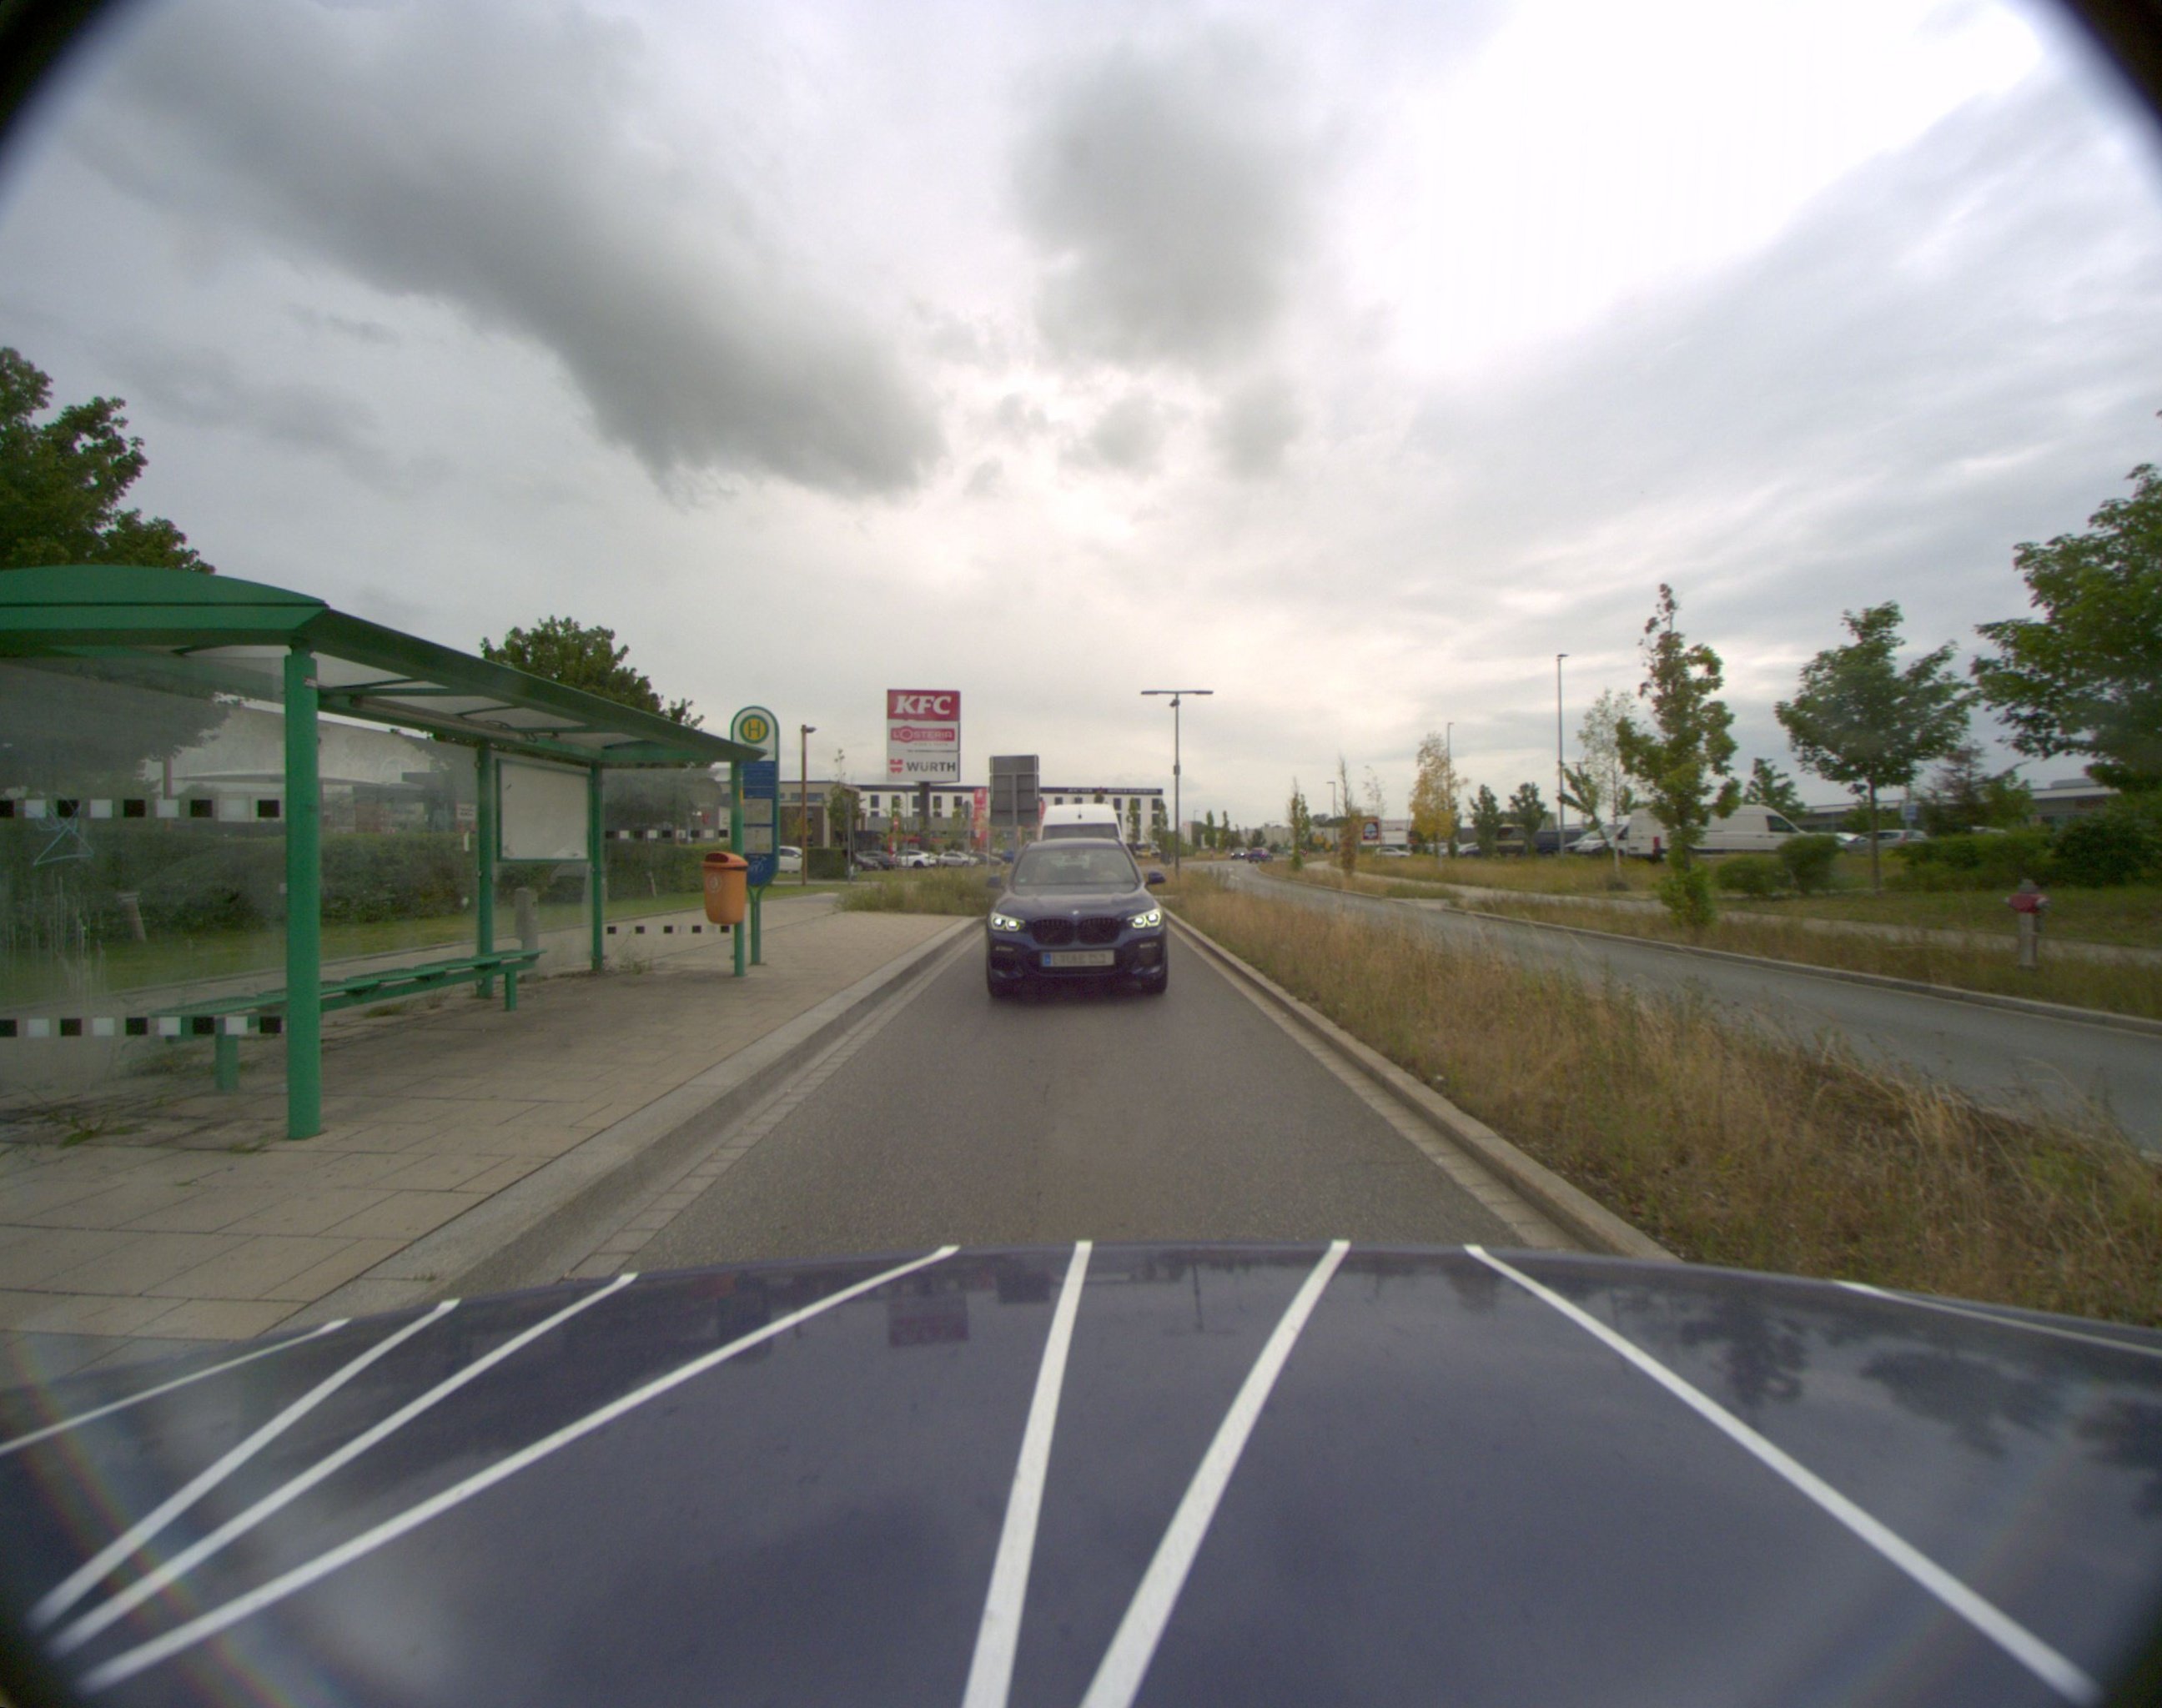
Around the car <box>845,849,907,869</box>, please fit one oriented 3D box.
[{"bbox_3d":[-15.045,0.347,55.844,3.994,1.477,1.848,0,1,9],"label":"car"}]

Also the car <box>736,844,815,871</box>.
[{"bbox_3d":[-18.264,0.202,45.562,3.997,1.519,1.847,0,1,1],"label":"car"}]

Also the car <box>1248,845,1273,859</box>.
[{"bbox_3d":[19.069,-0.236,80.424,1.730,1.504,4.007,0,0,26],"label":"car"}]

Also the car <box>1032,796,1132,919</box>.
[{"bbox_3d":[0.010,0.062,18.655,2.026,2.513,6.104,0,0,0],"label":"car"}]

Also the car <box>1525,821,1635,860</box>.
[{"bbox_3d":[29.521,-0.783,45.104,5.050,2.211,2.066,0,1,8],"label":"car"}]

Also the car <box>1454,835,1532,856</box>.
[{"bbox_3d":[32.553,-0.651,60.201,5.049,1.647,2.066,0,1,10],"label":"car"}]

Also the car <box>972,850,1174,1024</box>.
[{"bbox_3d":[-0.077,0.762,9.050,1.867,1.598,3.999,0,0,0],"label":"car"}]

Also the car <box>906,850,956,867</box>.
[{"bbox_3d":[-13.321,0.379,67.629,3.994,1.477,1.848,0,1,8],"label":"car"}]

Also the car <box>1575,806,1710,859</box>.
[{"bbox_3d":[27.487,-1.048,37.306,5.053,2.359,2.064,-2,1,1],"label":"car"}]

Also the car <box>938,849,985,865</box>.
[{"bbox_3d":[-11.366,0.252,72.277,3.993,1.477,1.849,0,1,13],"label":"car"}]

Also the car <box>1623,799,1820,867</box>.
[{"bbox_3d":[27.245,-0.874,32.510,6.413,2.609,2.065,-2,1,4],"label":"car"}]

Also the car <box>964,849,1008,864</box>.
[{"bbox_3d":[-9.621,0.286,76.740,3.993,1.477,1.849,0,1,13],"label":"car"}]

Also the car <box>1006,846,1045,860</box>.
[{"bbox_3d":[-6.275,-0.093,85.981,3.992,1.477,1.849,-2,1,17],"label":"car"}]

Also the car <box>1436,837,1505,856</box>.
[{"bbox_3d":[34.526,-0.662,67.433,5.049,1.647,2.066,0,1,10],"label":"car"}]

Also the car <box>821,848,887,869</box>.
[{"bbox_3d":[-15.797,0.309,52.988,3.994,1.477,1.848,0,1,9],"label":"car"}]

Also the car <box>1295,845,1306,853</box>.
[{"bbox_3d":[40.410,-0.932,139.659,1.731,1.484,4.004,0,0,13],"label":"car"}]

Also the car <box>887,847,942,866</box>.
[{"bbox_3d":[-13.685,0.219,62.490,3.994,1.513,1.848,0,1,9],"label":"car"}]

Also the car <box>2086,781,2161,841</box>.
[{"bbox_3d":[43.125,-1.708,29.239,2.064,2.359,5.055,-2,1,-3],"label":"car"}]

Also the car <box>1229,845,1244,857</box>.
[{"bbox_3d":[21.370,-0.435,104.562,1.997,1.565,4.002,-2,1,11],"label":"car"}]

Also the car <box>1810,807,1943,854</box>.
[{"bbox_3d":[43.545,-1.255,41.786,2.063,2.359,5.056,-2,1,1],"label":"car"}]

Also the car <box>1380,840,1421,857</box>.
[{"bbox_3d":[34.144,-0.539,81.271,3.991,1.660,2.003,-2,-1,21],"label":"car"}]

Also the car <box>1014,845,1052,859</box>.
[{"bbox_3d":[-5.604,-0.191,88.343,3.992,1.477,1.849,-2,1,17],"label":"car"}]
